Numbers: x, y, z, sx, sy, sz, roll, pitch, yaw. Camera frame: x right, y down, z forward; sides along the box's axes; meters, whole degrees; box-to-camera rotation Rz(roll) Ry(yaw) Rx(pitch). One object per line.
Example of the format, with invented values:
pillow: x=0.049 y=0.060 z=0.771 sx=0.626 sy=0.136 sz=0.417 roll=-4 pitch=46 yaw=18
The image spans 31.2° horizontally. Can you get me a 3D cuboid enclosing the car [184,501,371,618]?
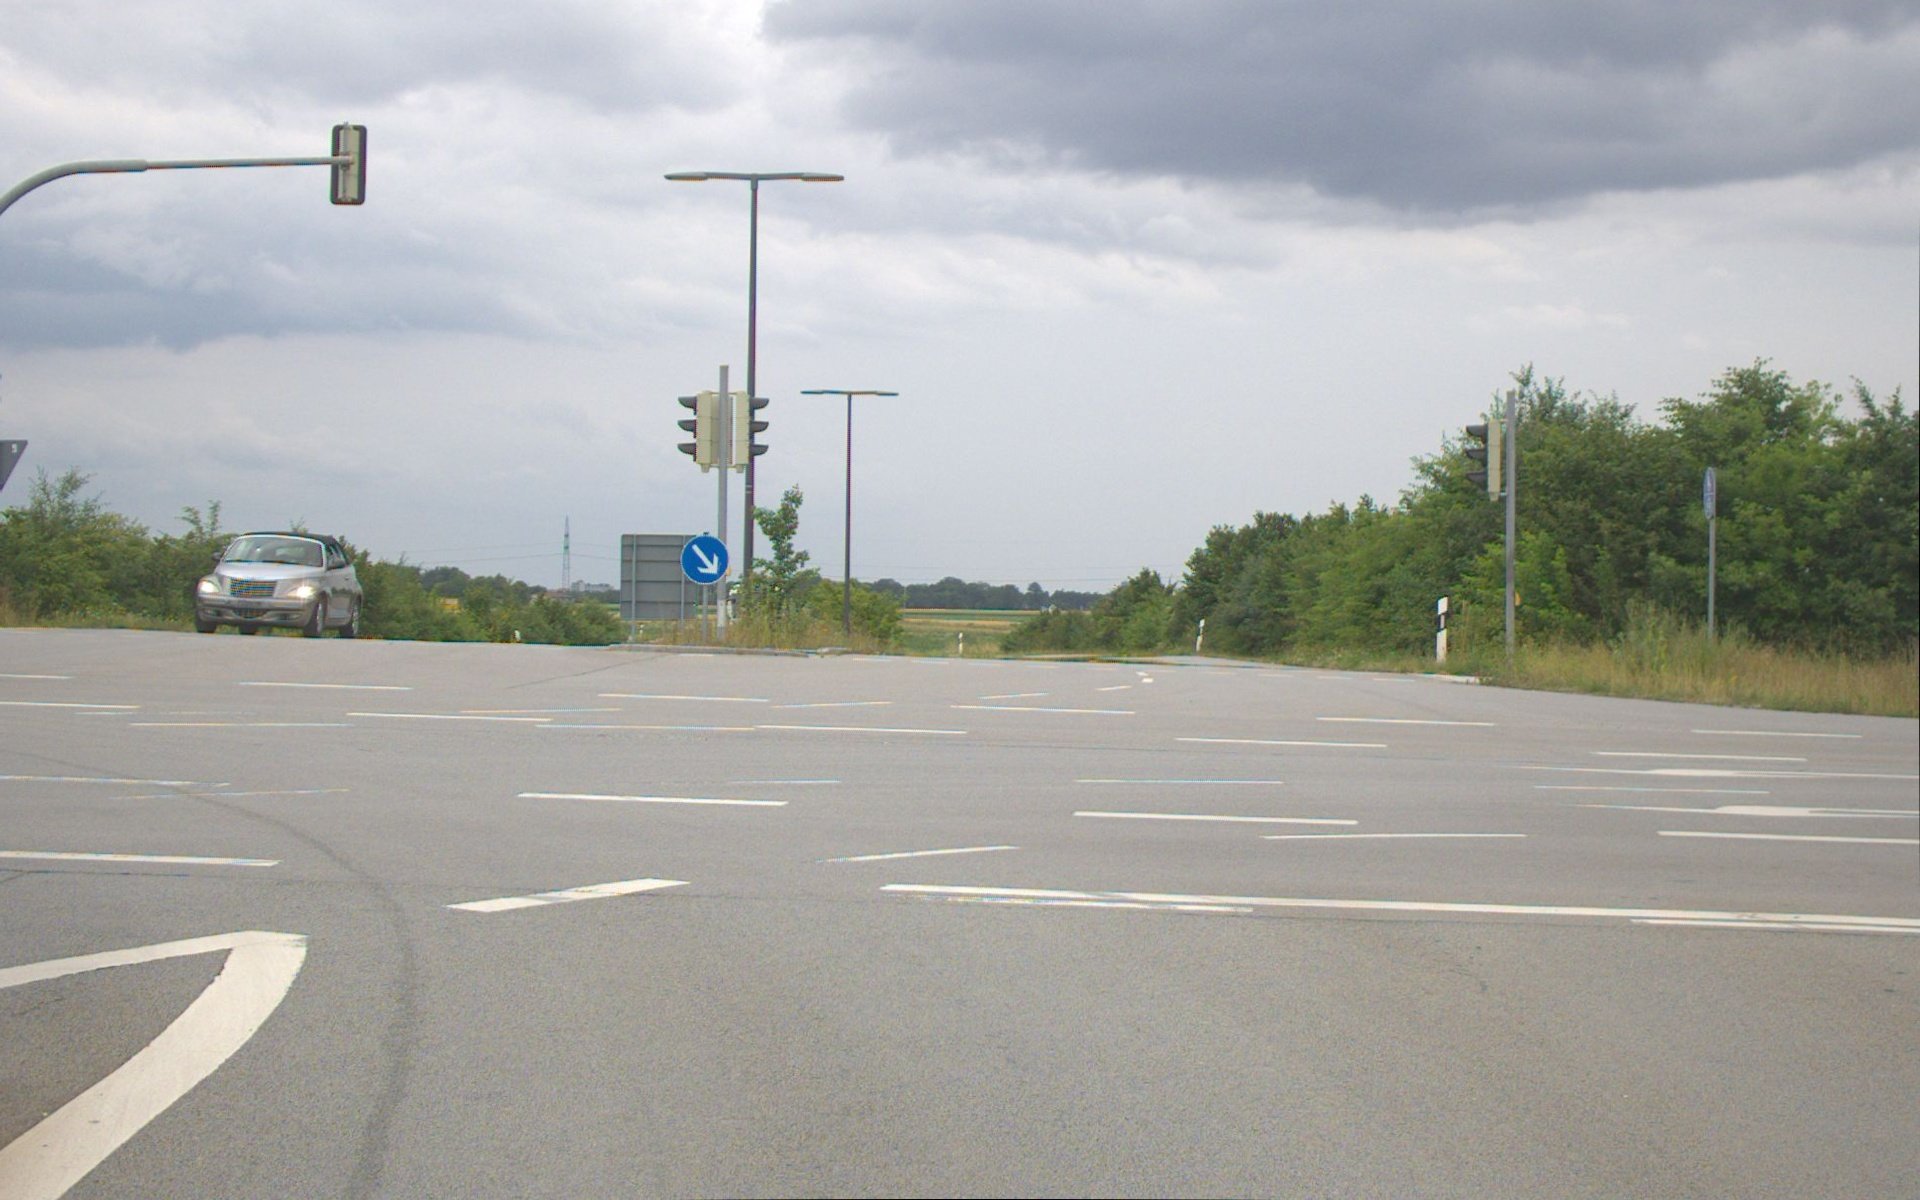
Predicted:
car: x=-9.596 y=-0.612 z=48.634 sx=1.810 sy=1.515 sz=4.243 roll=1 pitch=2 yaw=-1
